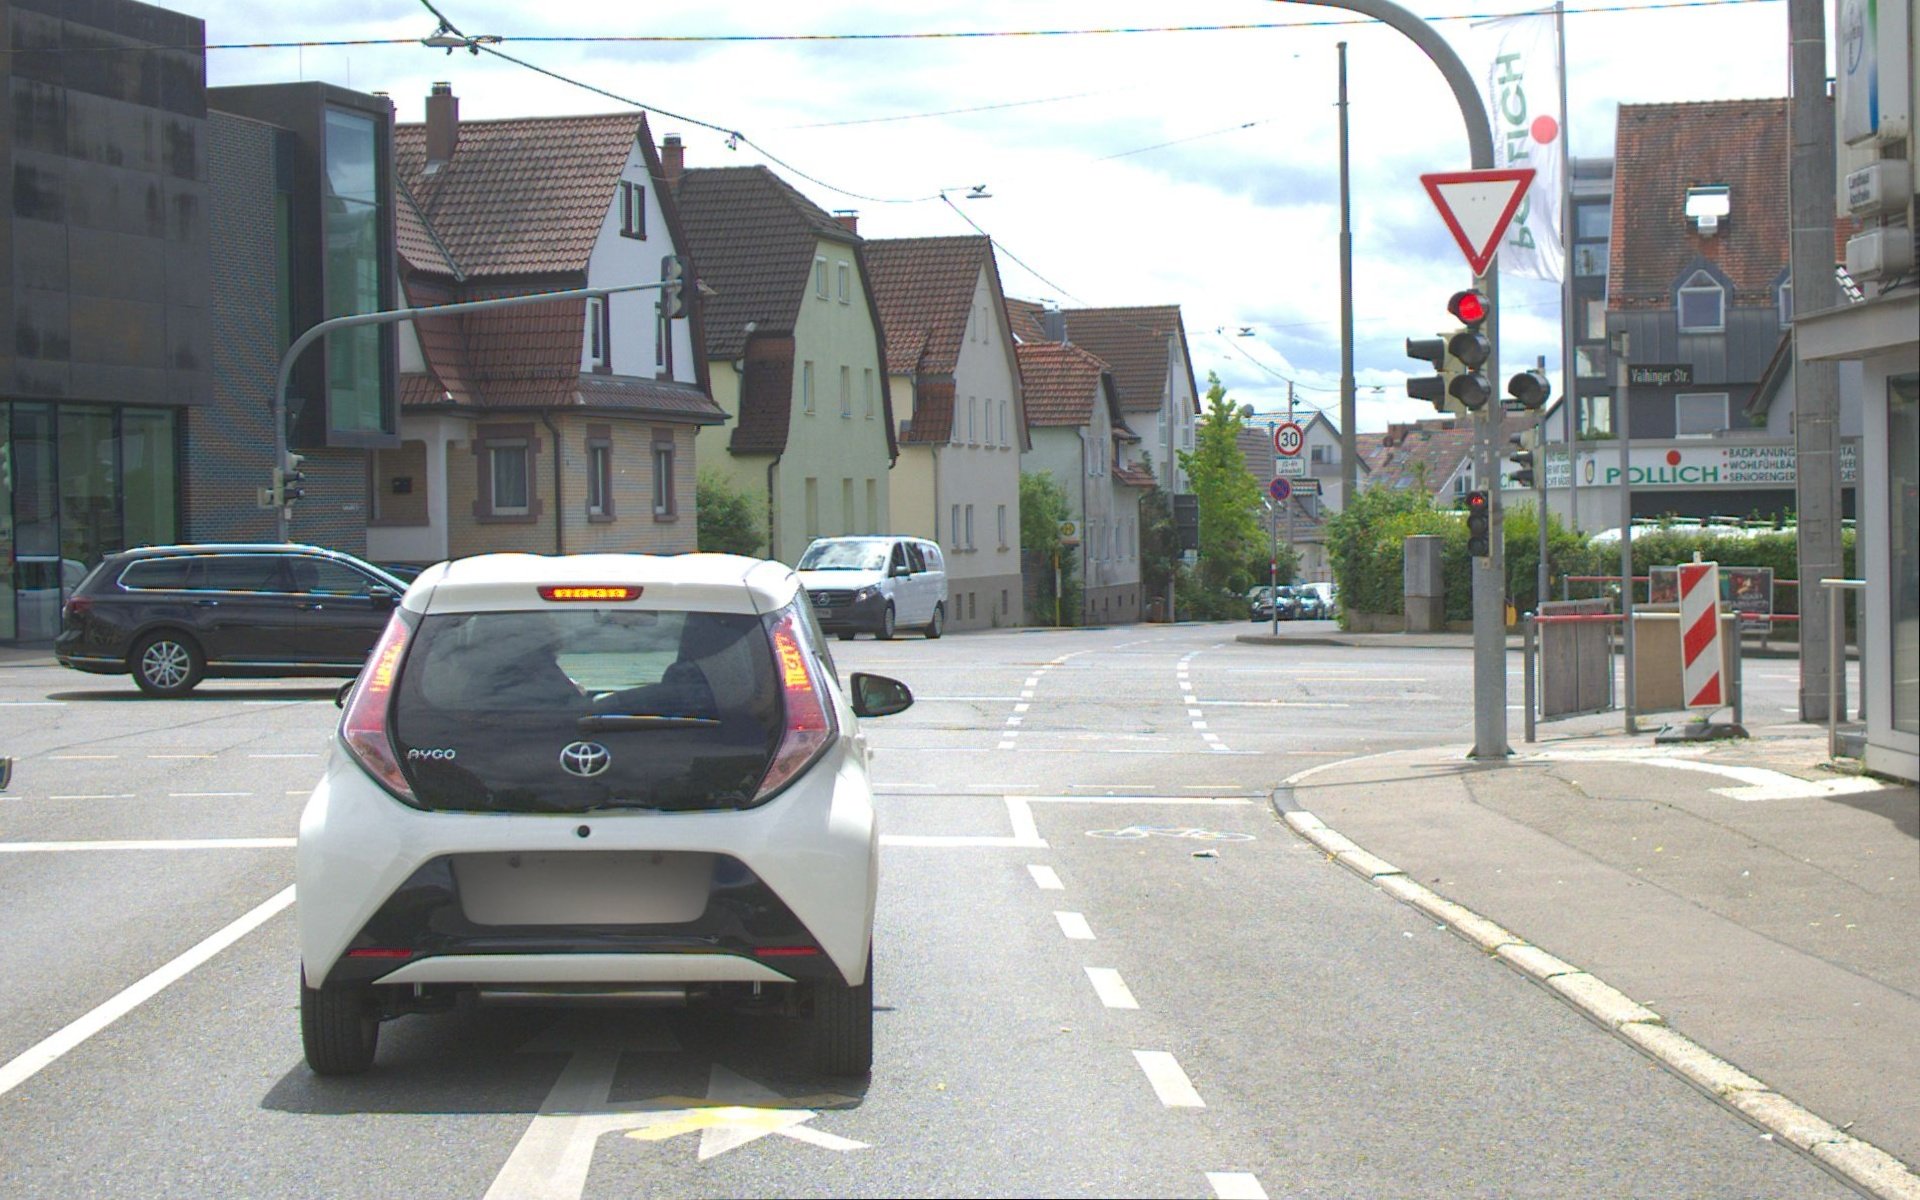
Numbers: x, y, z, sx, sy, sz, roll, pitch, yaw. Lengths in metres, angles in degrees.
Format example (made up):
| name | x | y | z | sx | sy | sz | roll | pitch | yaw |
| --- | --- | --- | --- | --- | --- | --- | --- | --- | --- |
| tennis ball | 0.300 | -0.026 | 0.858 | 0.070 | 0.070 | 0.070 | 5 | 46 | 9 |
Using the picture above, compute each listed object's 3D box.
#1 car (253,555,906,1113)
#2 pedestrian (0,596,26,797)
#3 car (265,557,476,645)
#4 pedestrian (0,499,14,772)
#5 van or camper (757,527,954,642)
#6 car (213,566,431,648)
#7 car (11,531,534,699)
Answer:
| name | x | y | z | sx | sy | sz | roll | pitch | yaw |
| --- | --- | --- | --- | --- | --- | --- | --- | --- | --- |
| car | -1.088 | 0.602 | 10.742 | 1.697 | 1.451 | 3.299 | 1 | 1 | -3 |
| pedestrian | -6.178 | 0.592 | 21.296 | 0.733 | 1.217 | 0.646 | -1 | 1 | -16 |
| car | -11.320 | 0.005 | 66.117 | 3.616 | 1.600 | 1.691 | 1 | 1 | 11 |
| pedestrian | -6.464 | 0.219 | 21.896 | 0.822 | 1.715 | 0.818 | -1 | 1 | -16 |
| van or camper | -1.793 | -0.284 | 61.077 | 2.117 | 1.919 | 5.282 | 1 | 1 | 14 |
| car | -11.858 | 0.116 | 63.990 | 3.616 | 1.414 | 1.691 | 1 | 1 | 11 |
| car | -6.696 | 0.137 | 33.874 | 4.895 | 1.572 | 2.001 | 1 | 1 | -9 |
